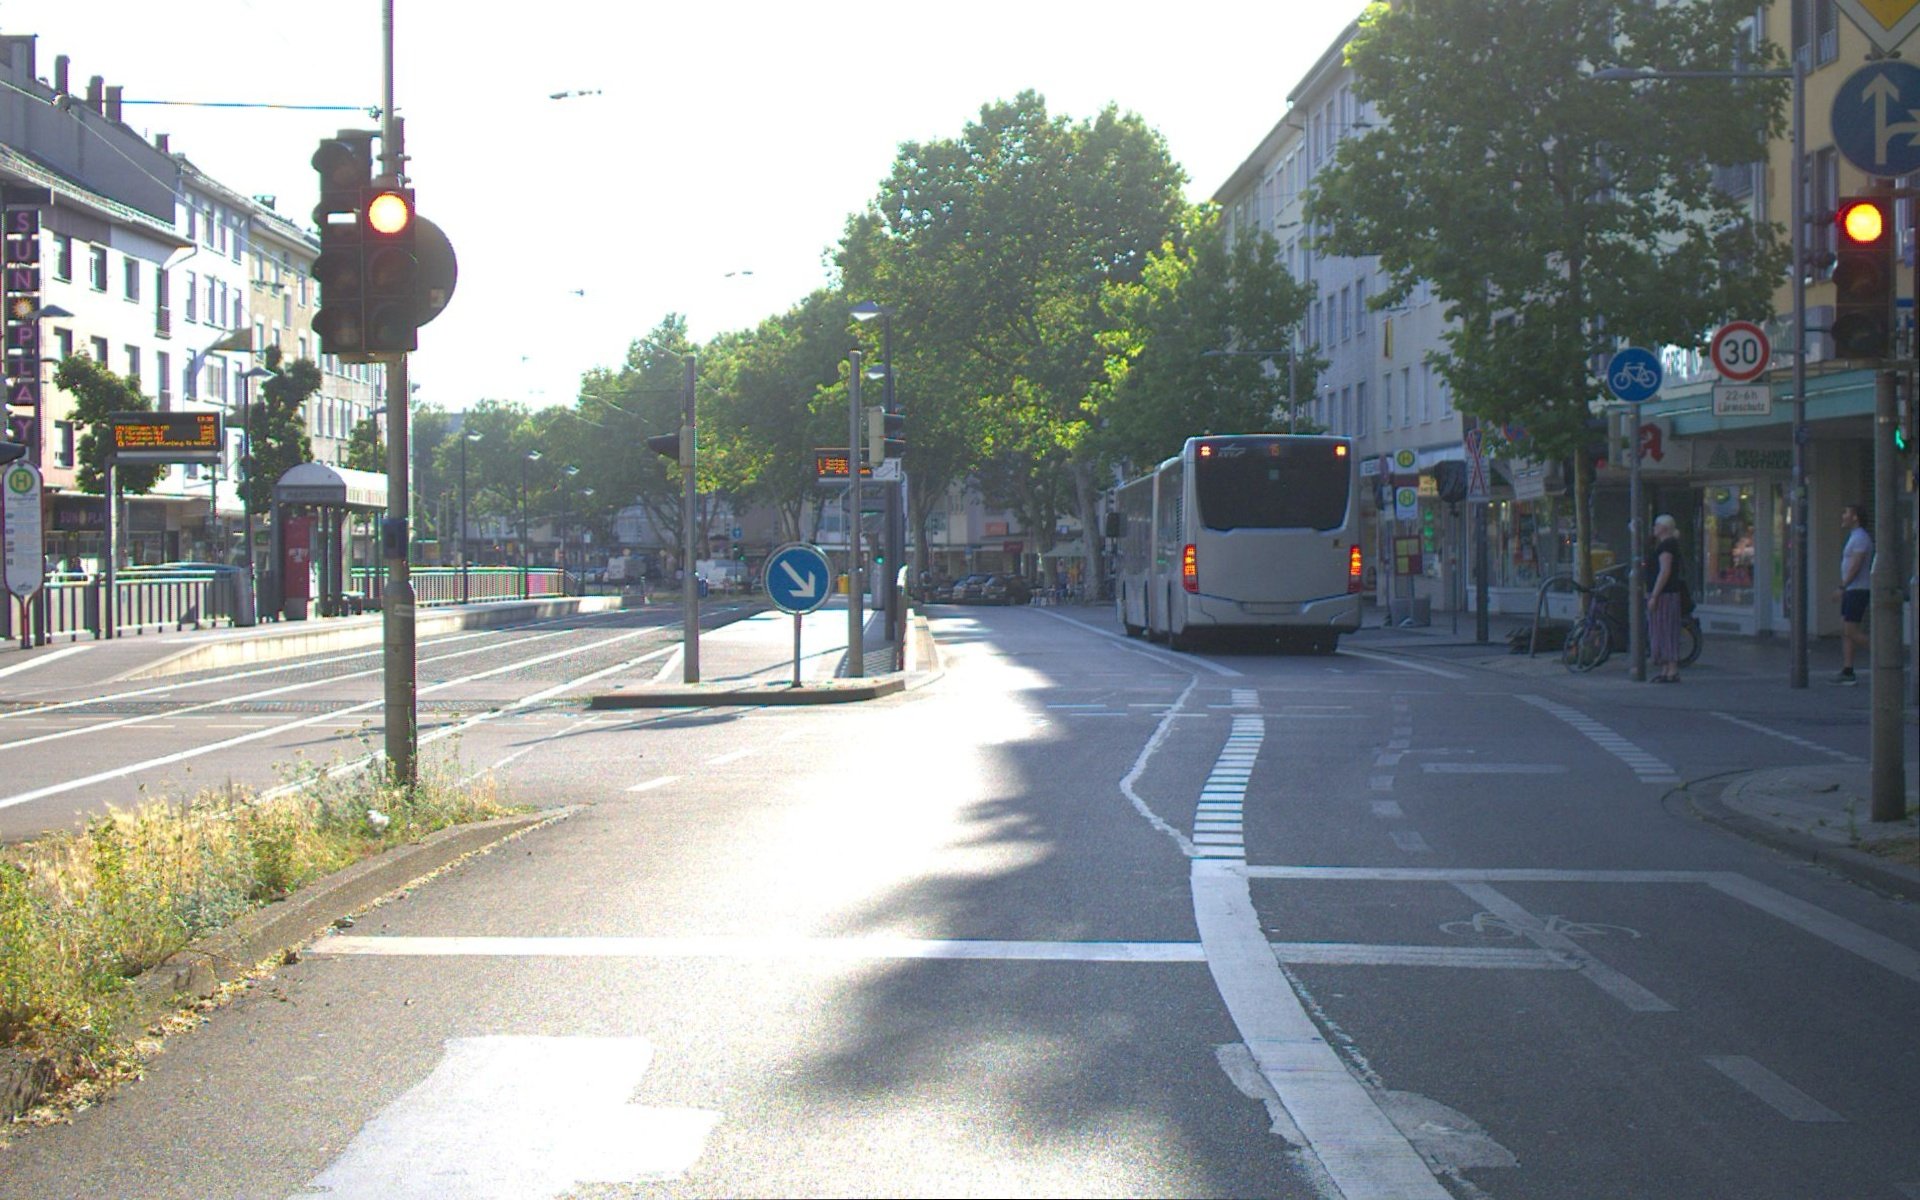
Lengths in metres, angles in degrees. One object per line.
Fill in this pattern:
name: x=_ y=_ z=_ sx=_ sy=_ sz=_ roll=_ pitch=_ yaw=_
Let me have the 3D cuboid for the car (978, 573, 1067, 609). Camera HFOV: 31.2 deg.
car: x=3.035 y=-0.446 z=167.001 sx=3.889 sy=1.693 sz=1.833 roll=-1 pitch=1 yaw=-28

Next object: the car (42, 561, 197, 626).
car: x=-24.112 y=-0.207 z=98.640 sx=3.986 sy=1.809 sz=2.000 roll=-1 pitch=1 yaw=-26

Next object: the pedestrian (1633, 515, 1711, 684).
pedestrian: x=7.481 y=-0.010 z=36.135 sx=0.680 sy=1.764 sz=0.687 roll=0 pitch=1 yaw=1

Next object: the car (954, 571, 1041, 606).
car: x=1.860 y=-0.571 z=170.636 sx=3.889 sy=1.693 sz=1.833 roll=-1 pitch=1 yaw=-28

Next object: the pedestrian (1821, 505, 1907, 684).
pedestrian: x=8.986 y=-0.063 z=34.187 sx=0.680 sy=1.764 sz=0.687 roll=0 pitch=1 yaw=1

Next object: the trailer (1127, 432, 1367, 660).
trailer: x=4.213 y=-0.814 z=52.279 sx=2.812 sy=3.099 sz=8.794 roll=2 pitch=1 yaw=0

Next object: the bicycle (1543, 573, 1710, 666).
bicycle: x=7.700 y=0.223 z=39.755 sx=1.772 sy=1.018 sz=0.694 roll=-2 pitch=1 yaw=0

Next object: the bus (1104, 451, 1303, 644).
bus: x=4.208 y=-0.926 z=61.249 sx=2.812 sy=3.091 sz=9.094 roll=2 pitch=1 yaw=0

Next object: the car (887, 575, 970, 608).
car: x=-1.619 y=-0.428 z=174.950 sx=3.889 sy=1.591 sz=1.691 roll=-1 pitch=1 yaw=-28
